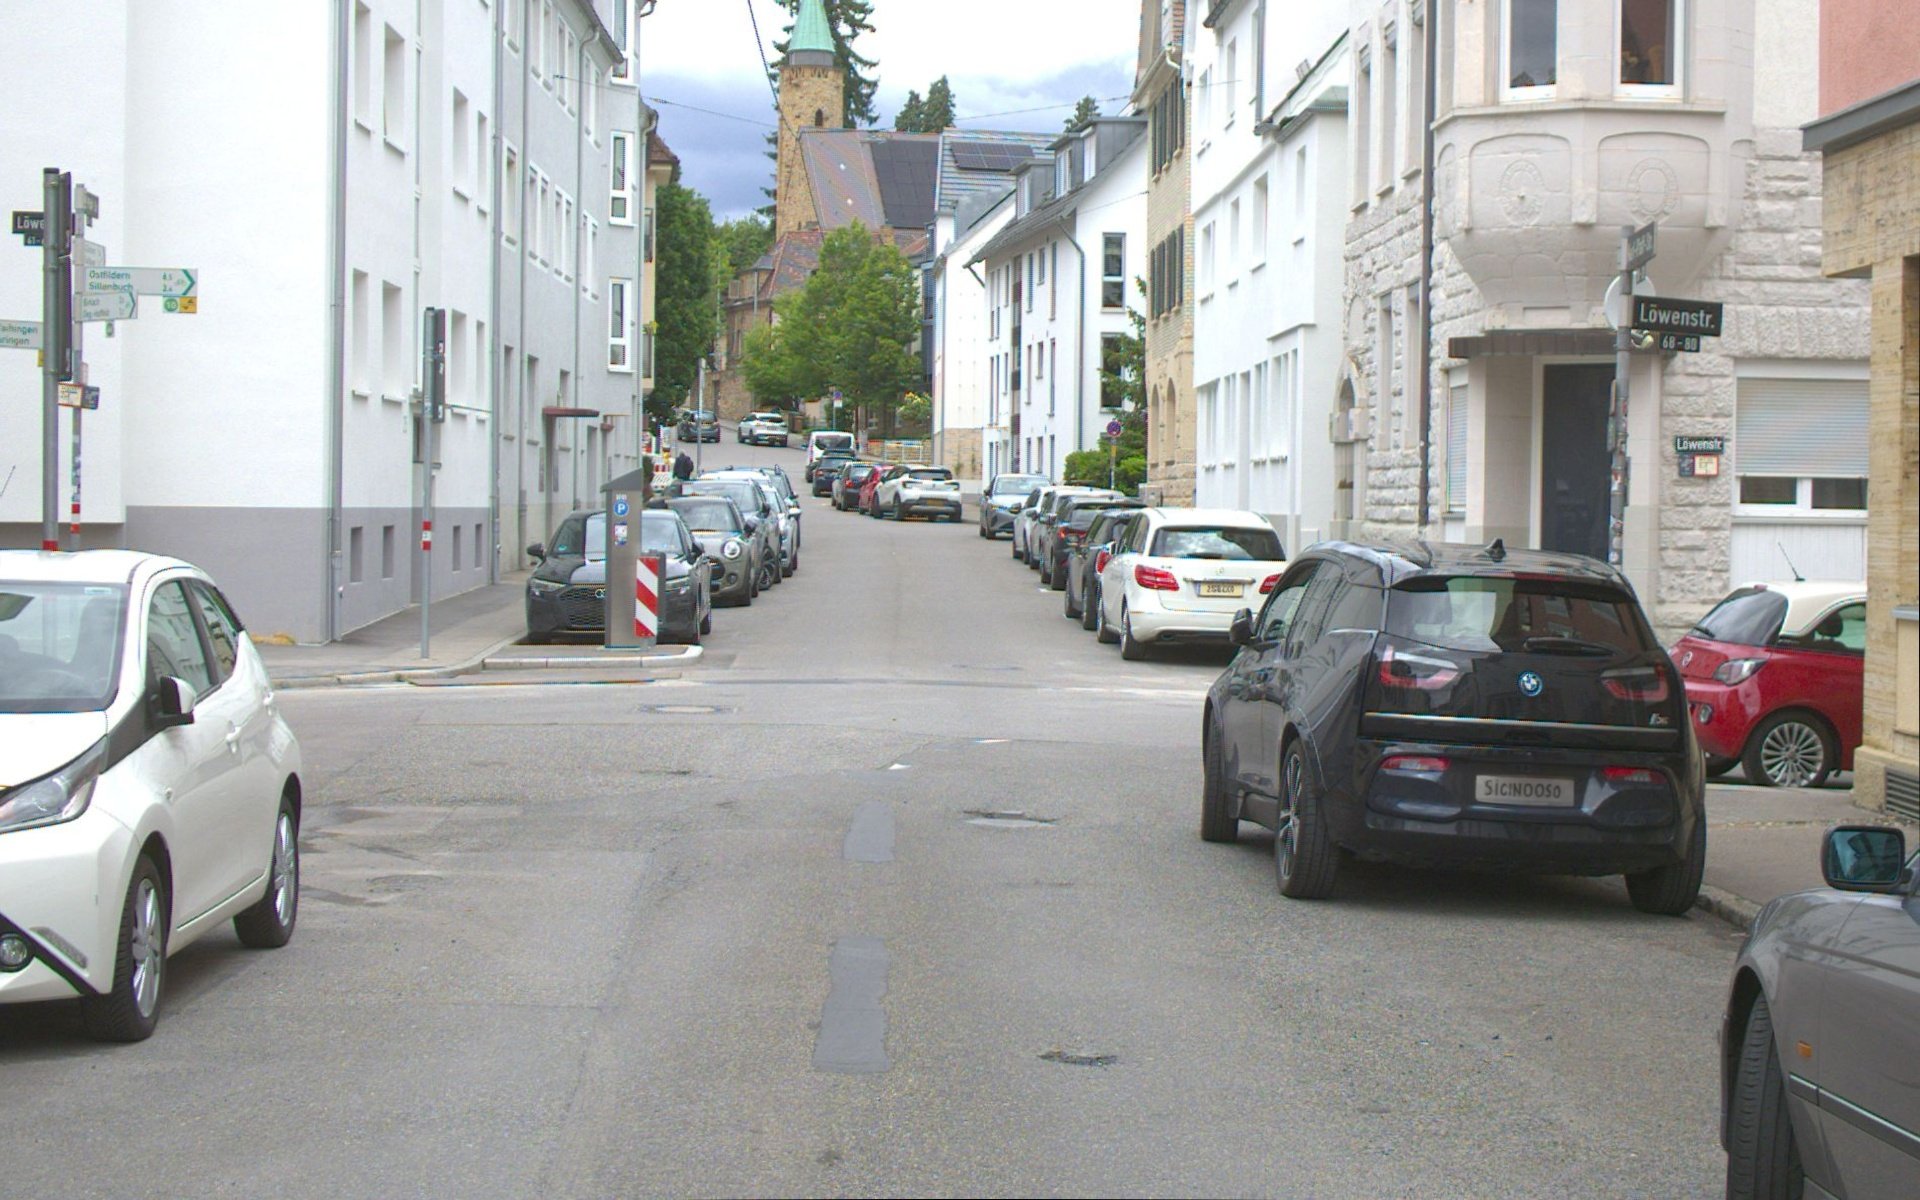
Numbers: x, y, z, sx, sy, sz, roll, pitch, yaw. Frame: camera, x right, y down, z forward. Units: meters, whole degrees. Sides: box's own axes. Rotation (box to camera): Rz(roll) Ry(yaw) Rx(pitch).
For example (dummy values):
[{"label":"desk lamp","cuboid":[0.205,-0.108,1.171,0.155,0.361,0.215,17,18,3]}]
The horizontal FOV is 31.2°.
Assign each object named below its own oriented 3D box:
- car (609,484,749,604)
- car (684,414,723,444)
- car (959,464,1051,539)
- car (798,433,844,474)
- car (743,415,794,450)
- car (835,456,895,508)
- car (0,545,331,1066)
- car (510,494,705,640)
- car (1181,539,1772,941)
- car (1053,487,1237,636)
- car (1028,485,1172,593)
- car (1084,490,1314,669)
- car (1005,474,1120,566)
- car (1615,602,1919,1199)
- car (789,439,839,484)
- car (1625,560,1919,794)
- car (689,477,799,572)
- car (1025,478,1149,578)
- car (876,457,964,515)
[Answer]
[{"label":"car","cuboid":[-3.708,-0.780,45.851,1.730,1.484,3.720,0,3,-3]},{"label":"car","cuboid":[-12.966,-8.646,173.627,1.667,1.474,3.627,1,3,-9]},{"label":"car","cuboid":[0.967,-2.190,75.666,1.667,1.474,3.627,2,3,-4]},{"label":"car","cuboid":[-5.423,-5.699,133.628,1.667,1.474,3.627,1,3,-4]},{"label":"car","cuboid":[-9.617,-8.404,172.368,2.181,1.687,3.627,1,3,-9]},{"label":"car","cuboid":[-2.905,-3.620,104.963,1.667,1.474,3.627,1,3,-4]},{"label":"car","cuboid":[-3.257,0.574,11.370,1.666,1.429,3.816,-2,0,-1]},{"label":"car","cuboid":[-3.680,-0.395,36.494,1.820,1.386,4.299,0,3,-3]},{"label":"car","cuboid":[2.223,0.536,15.920,1.817,1.538,4.028,2,1,-4]},{"label":"car","cuboid":[2.165,-0.508,41.305,1.667,1.527,4.029,2,3,-4]},{"label":"car","cuboid":[2.058,-0.944,51.544,1.667,1.380,4.029,2,3,-4]},{"label":"car","cuboid":[2.450,-0.267,36.218,1.820,1.593,4.029,2,3,-4]},{"label":"car","cuboid":[1.833,-1.471,62.475,1.667,1.474,3.627,2,3,-4]},{"label":"car","cuboid":[2.498,0.777,5.566,1.786,1.412,4.578,3,0,-2]},{"label":"car","cuboid":[-5.188,-4.918,121.893,1.667,1.474,3.627,1,3,-4]},{"label":"car","cuboid":[6.692,0.555,23.959,3.613,1.474,1.674,2,2,-8]},{"label":"car","cuboid":[-3.476,-1.248,55.789,1.730,1.443,3.720,0,3,-3]},{"label":"car","cuboid":[2.103,-1.240,57.876,1.667,1.474,3.627,2,3,-4]},{"label":"car","cuboid":[-1.118,-3.132,94.069,1.783,1.474,3.627,1,3,-11]}]
